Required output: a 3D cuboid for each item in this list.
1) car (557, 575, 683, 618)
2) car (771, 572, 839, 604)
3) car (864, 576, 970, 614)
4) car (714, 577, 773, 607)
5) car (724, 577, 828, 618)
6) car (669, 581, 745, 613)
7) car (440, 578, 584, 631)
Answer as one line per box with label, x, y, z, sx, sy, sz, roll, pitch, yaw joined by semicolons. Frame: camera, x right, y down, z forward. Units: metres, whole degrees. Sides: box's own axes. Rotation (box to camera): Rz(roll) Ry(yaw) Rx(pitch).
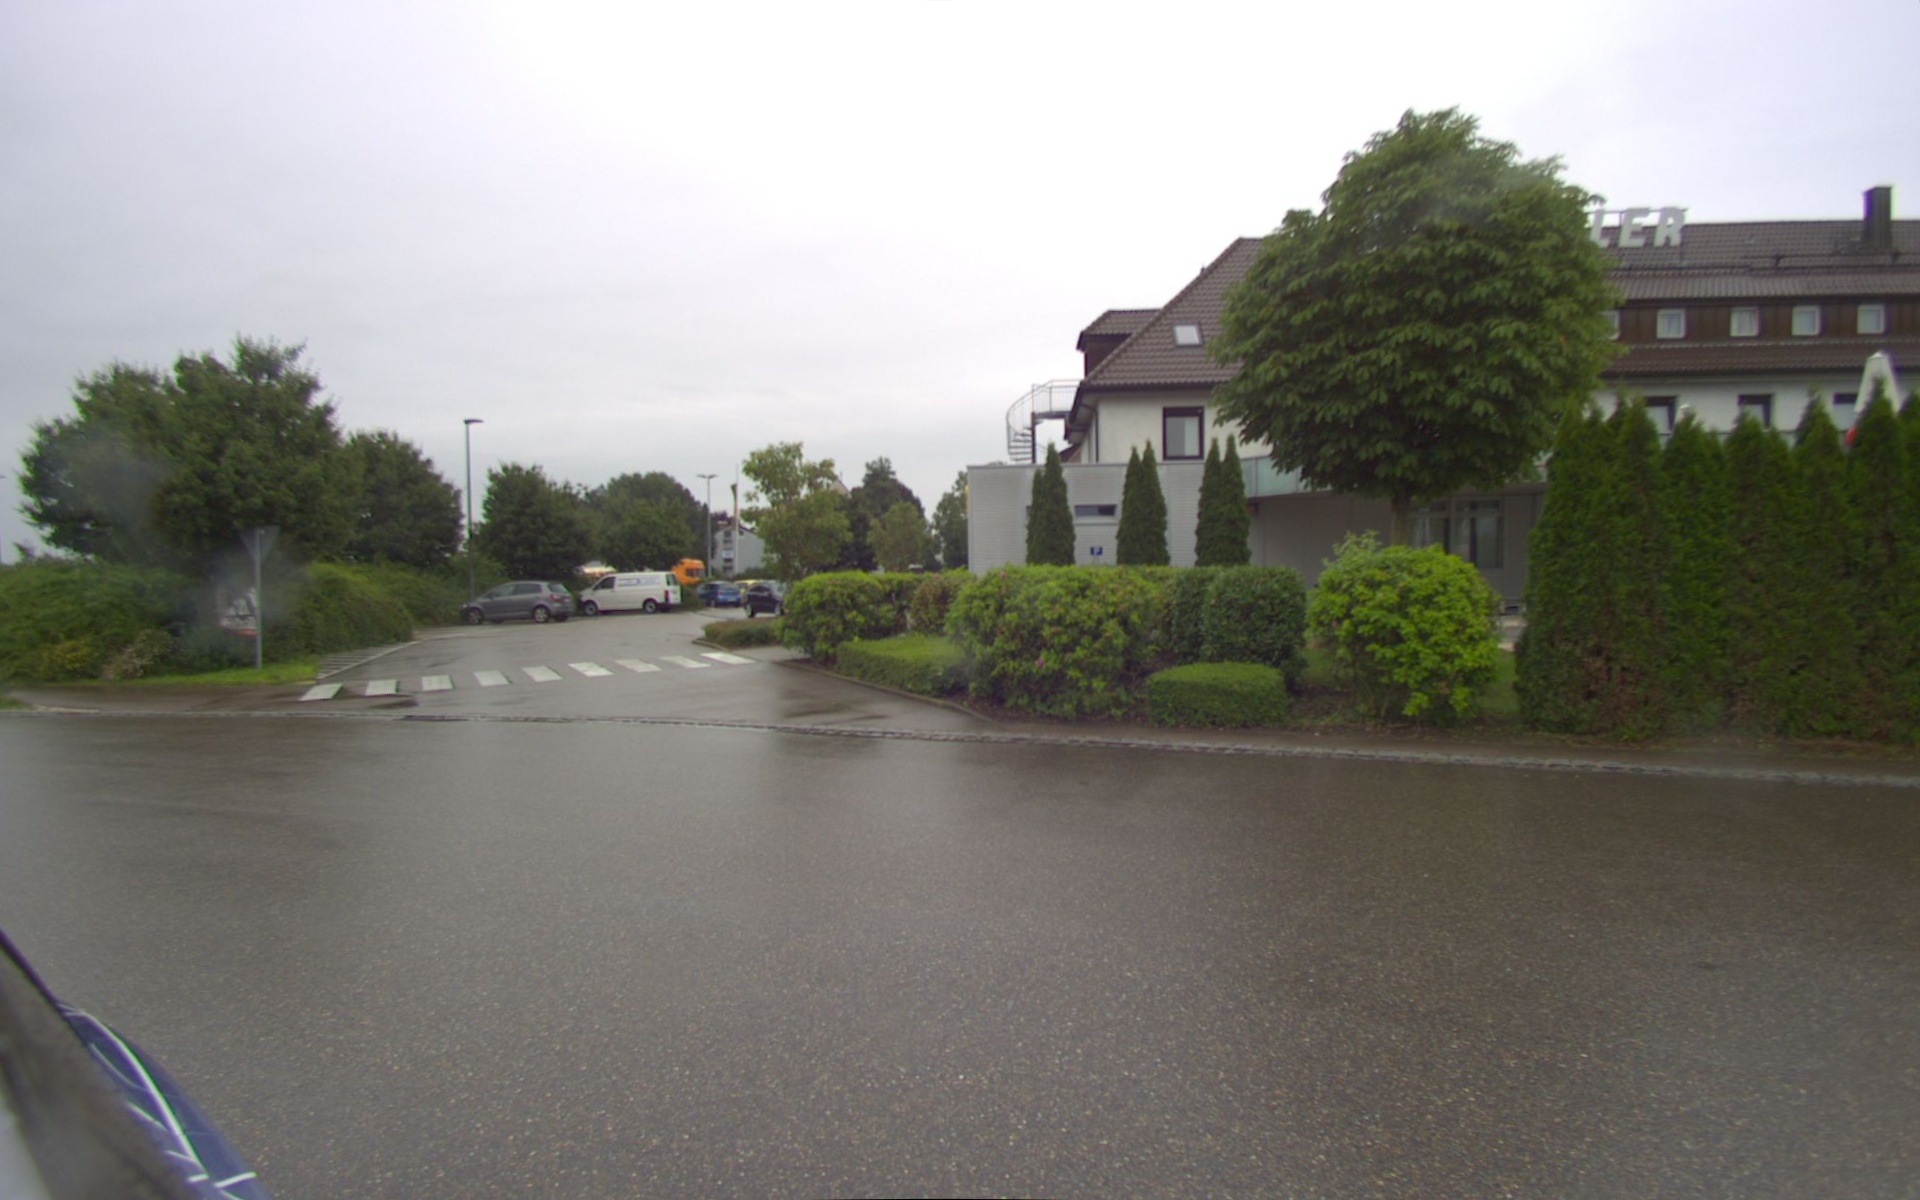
car;-16.120;-0.178;48.167;5.309;1.734;1.997;-3;1;5
car;-9.361;-0.700;61.052;4.001;1.741;1.962;-2;1;44
car;-1.759;-0.228;42.725;4.303;1.435;1.849;-2;1;3
car;-12.388;-0.462;57.837;1.640;1.560;3.732;-3;1;-41
car;-7.063;-0.082;38.602;1.681;1.435;4.363;-3;2;-45
car;-13.925;-0.136;55.574;1.970;1.562;4.653;-3;1;-43
car;-16.912;0.149;38.310;4.551;1.734;1.998;-3;1;5
